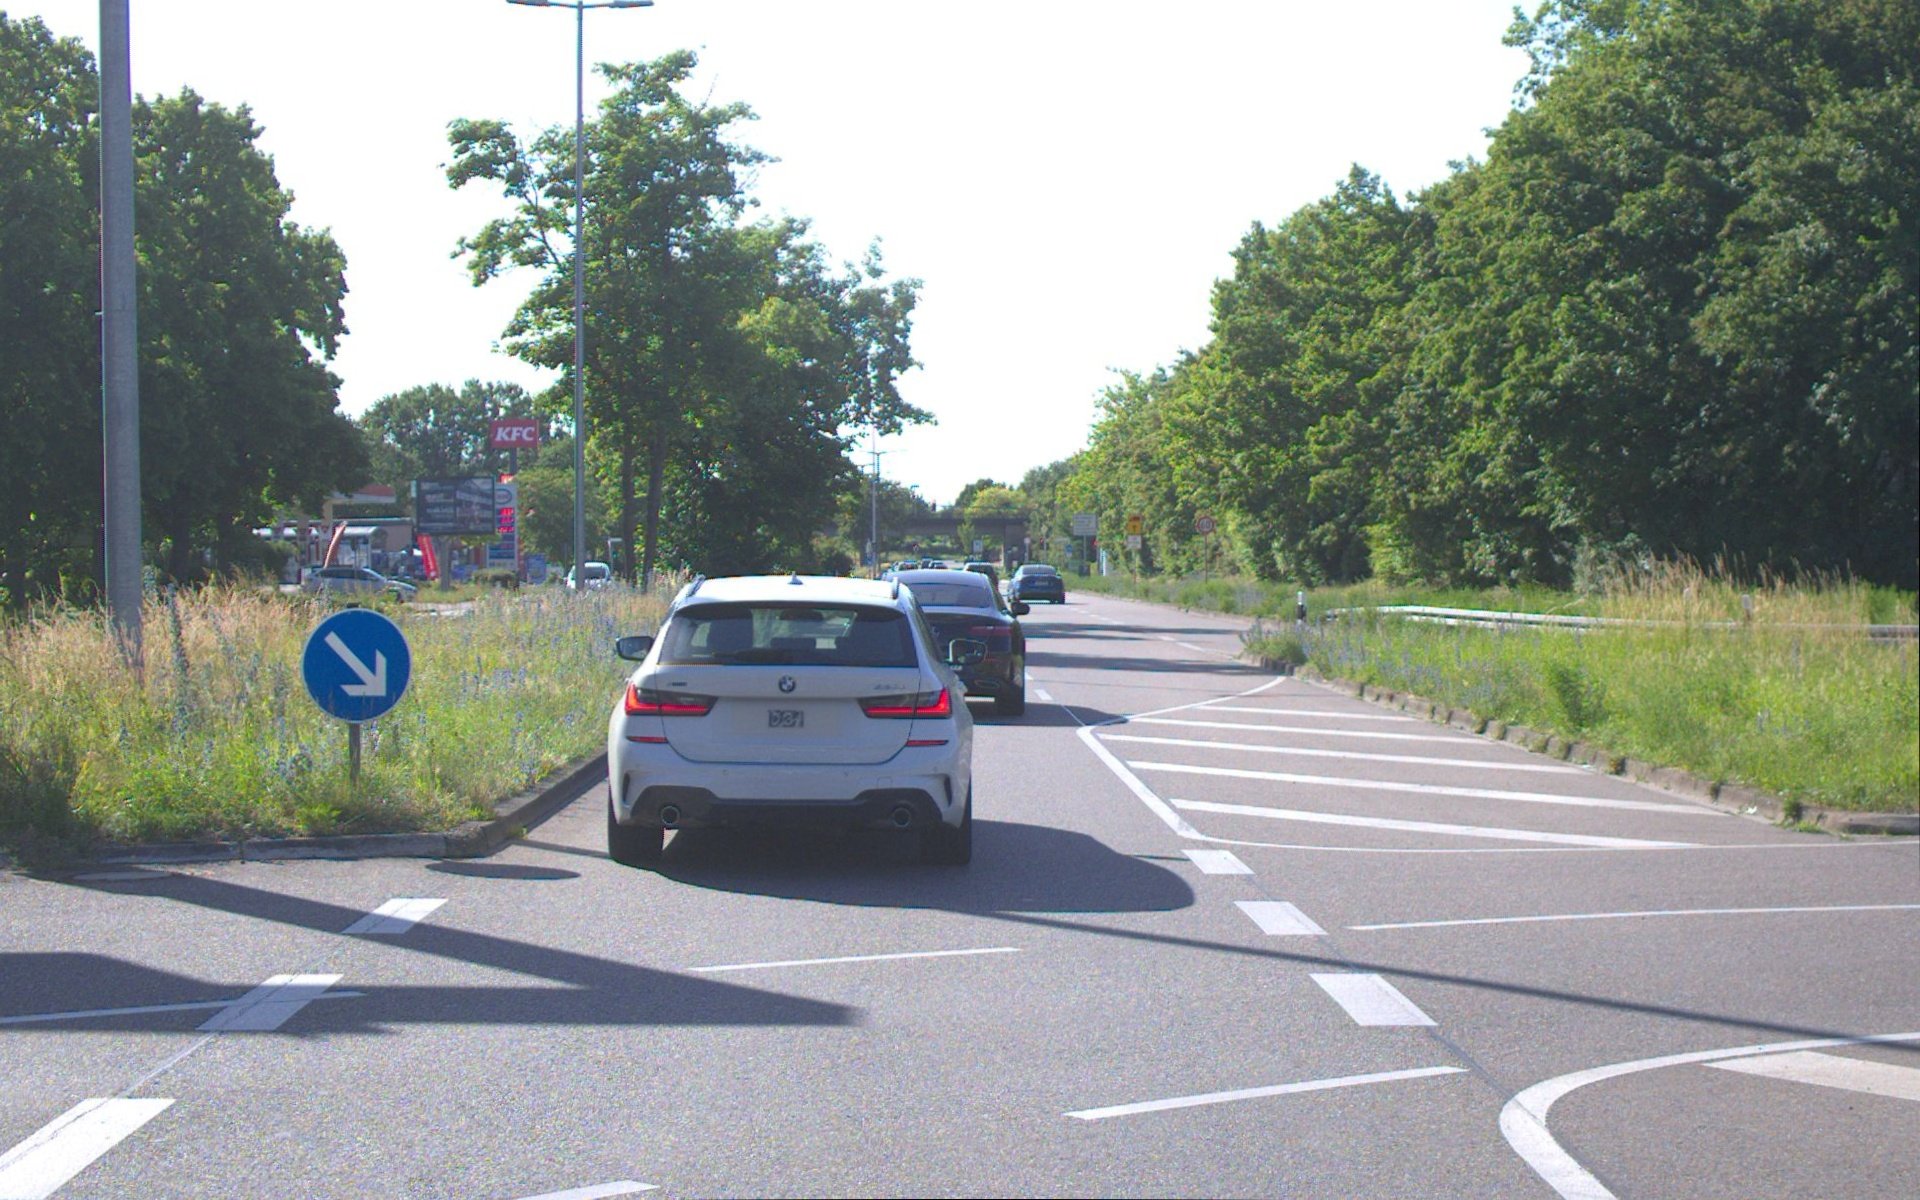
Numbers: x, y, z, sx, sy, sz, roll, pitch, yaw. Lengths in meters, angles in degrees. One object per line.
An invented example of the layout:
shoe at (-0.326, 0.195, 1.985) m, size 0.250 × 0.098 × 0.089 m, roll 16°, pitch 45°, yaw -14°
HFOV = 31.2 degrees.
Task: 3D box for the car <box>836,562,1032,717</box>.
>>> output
car at (-0.296, 0.356, 35.306) m, size 1.861 × 1.450 × 4.548 m, roll -1°, pitch 1°, yaw -1°

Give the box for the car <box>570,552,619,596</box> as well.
car at (-14.914, -1.075, 140.326) m, size 1.706 × 1.740 × 4.166 m, roll 0°, pitch 1°, yaw -2°

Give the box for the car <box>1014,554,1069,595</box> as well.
car at (2.993, -0.944, 127.065) m, size 1.861 × 1.494 × 4.337 m, roll 0°, pitch 1°, yaw -1°

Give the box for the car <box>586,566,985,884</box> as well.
car at (-0.841, 0.567, 18.462) m, size 1.861 × 1.450 × 4.548 m, roll 1°, pitch 1°, yaw -1°

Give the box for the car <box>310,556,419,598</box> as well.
car at (-24.435, -0.947, 141.187) m, size 4.110 × 1.656 × 1.893 m, roll -1°, pitch 1°, yaw 2°

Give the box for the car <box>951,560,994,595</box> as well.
car at (0.566, -1.039, 158.720) m, size 1.771 × 1.550 × 3.833 m, roll -1°, pitch 1°, yaw -2°

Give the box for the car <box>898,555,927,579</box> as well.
car at (-3.180, -2.203, 229.146) m, size 1.861 × 1.560 × 4.548 m, roll 0°, pitch 1°, yaw -1°
